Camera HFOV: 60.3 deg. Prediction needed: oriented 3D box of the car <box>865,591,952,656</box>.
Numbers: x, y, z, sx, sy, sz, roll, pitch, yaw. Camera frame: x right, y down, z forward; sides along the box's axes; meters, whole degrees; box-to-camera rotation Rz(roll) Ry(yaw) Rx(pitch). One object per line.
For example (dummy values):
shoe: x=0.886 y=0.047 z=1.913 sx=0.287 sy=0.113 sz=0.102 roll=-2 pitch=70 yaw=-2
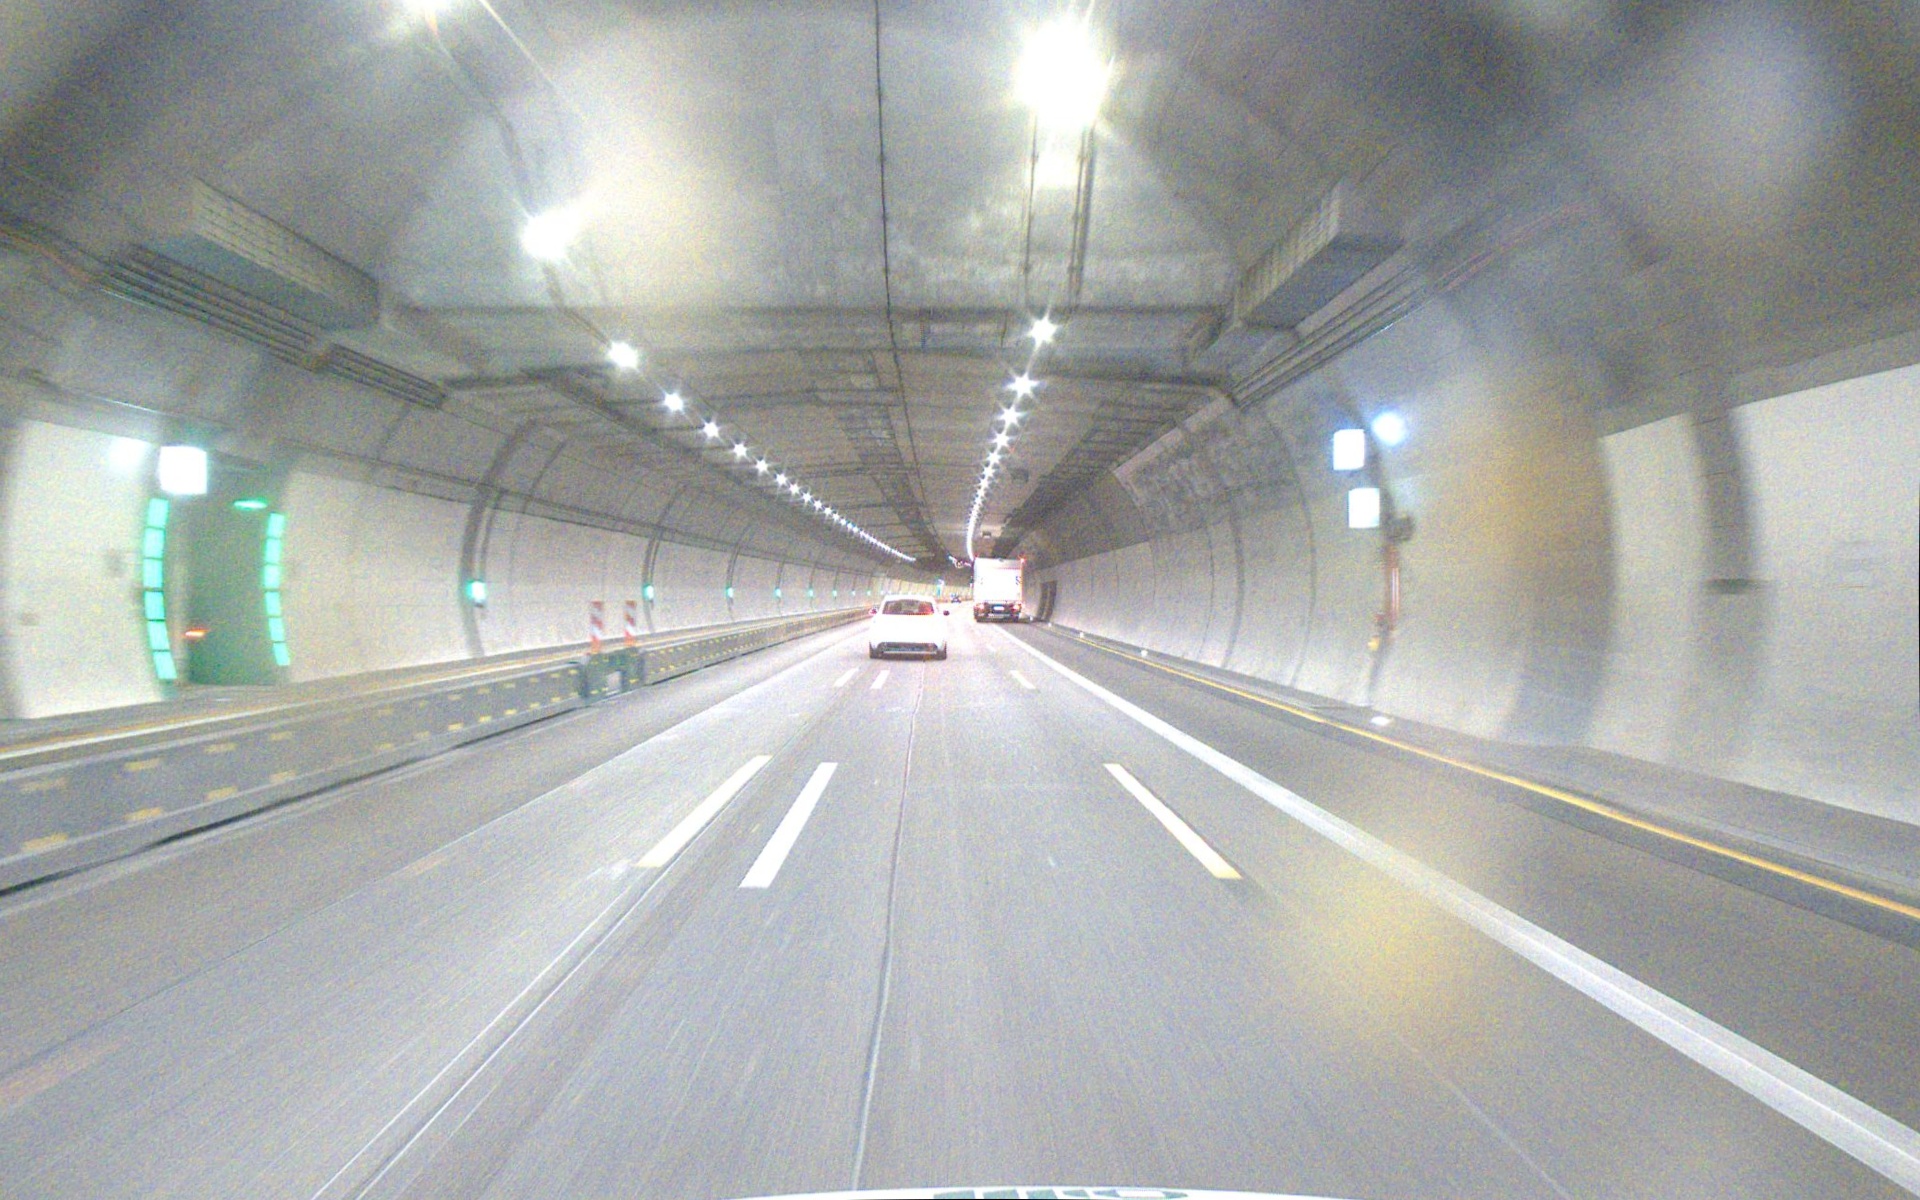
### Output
car: x=-1.219 y=0.528 z=39.652 sx=1.953 sy=1.437 sz=4.741 roll=1 pitch=0 yaw=-2

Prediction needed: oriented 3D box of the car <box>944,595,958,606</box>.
car: x=-1.353 y=0.074 z=261.807 sx=1.952 sy=1.545 sz=4.001 roll=1 pitch=0 yaw=3

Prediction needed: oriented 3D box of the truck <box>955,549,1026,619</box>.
truck: x=1.651 y=-0.872 z=94.233 sx=3.520 sy=3.714 sz=10.719 roll=1 pitch=0 yaw=-2
